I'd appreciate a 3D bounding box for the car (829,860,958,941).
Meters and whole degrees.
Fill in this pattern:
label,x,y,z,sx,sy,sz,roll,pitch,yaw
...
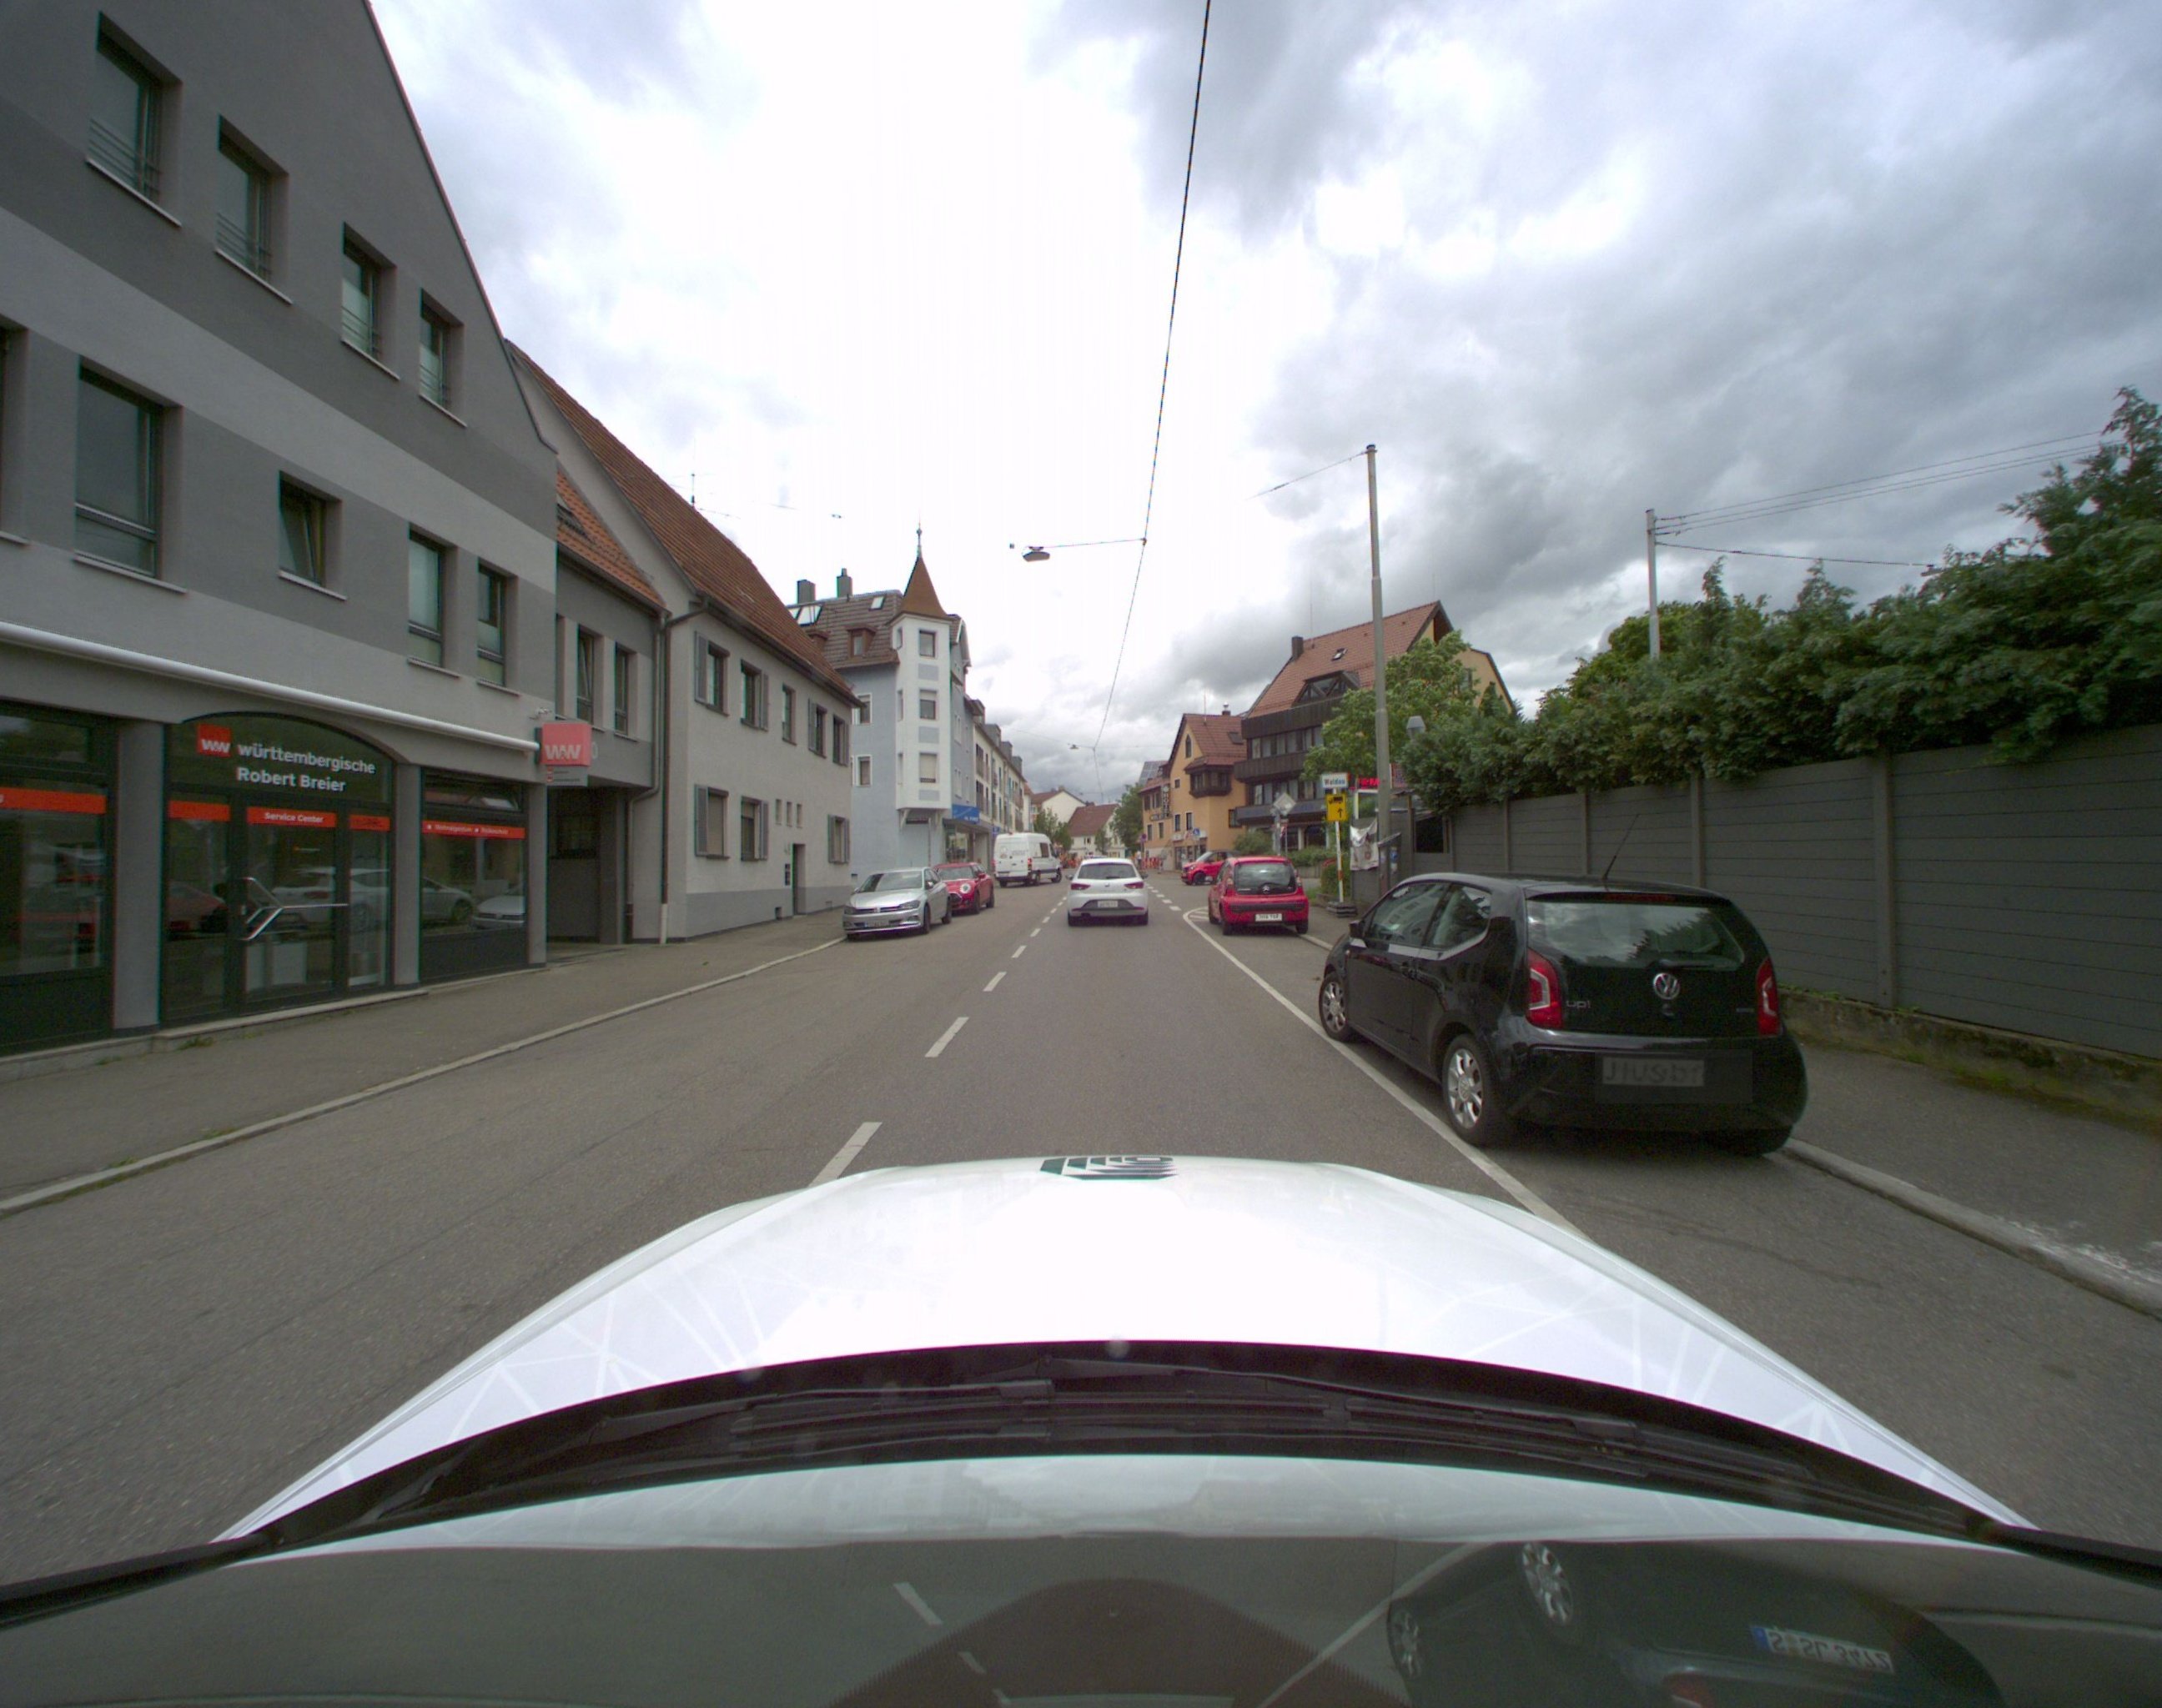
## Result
label,x,y,z,sx,sy,sz,roll,pitch,yaw
car,-4.090,0.956,18.487,1.792,1.479,4.052,-4,0,1

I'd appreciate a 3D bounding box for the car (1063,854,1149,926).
label,x,y,z,sx,sy,sz,roll,pitch,yaw
car,0.591,0.754,18.785,1.751,1.452,4.002,-1,0,2

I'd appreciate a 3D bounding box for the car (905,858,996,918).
label,x,y,z,sx,sy,sz,roll,pitch,yaw
car,-3.714,0.909,23.881,1.792,1.479,4.052,-4,0,1

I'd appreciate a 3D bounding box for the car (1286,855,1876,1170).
label,x,y,z,sx,sy,sz,roll,pitch,yaw
car,2.904,0.762,5.896,1.753,1.452,3.998,-1,0,-1

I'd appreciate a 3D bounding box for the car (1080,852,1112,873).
label,x,y,z,sx,sy,sz,roll,pitch,yaw
car,1.088,0.632,60.183,1.757,1.452,3.988,-1,0,-8

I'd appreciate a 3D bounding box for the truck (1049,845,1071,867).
label,x,y,z,sx,sy,sz,roll,pitch,yaw
truck,-2.434,0.203,95.557,2.144,2.459,5.398,0,0,2

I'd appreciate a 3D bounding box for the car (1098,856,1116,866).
label,x,y,z,sx,sy,sz,roll,pitch,yaw
car,4.036,1.006,124.864,1.744,1.452,4.018,-1,0,17

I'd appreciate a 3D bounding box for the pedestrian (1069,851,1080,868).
label,x,y,z,sx,sy,sz,roll,pitch,yaw
pedestrian,-0.773,0.648,99.985,1.223,2.013,1.176,-1,0,2

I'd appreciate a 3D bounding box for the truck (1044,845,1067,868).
label,x,y,z,sx,sy,sz,roll,pitch,yaw
truck,-2.784,0.271,89.649,2.144,2.459,5.398,0,0,2

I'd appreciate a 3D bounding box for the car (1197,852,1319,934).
label,x,y,z,sx,sy,sz,roll,pitch,yaw
car,3.500,0.724,16.816,1.752,1.452,4.001,-1,0,2

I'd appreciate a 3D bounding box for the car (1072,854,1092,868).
label,x,y,z,sx,sy,sz,roll,pitch,yaw
car,0.102,0.923,105.862,1.782,1.701,4.014,-1,0,12

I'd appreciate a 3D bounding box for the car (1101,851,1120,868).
label,x,y,z,sx,sy,sz,roll,pitch,yaw
car,2.781,0.493,76.988,1.755,1.497,3.791,-1,0,2

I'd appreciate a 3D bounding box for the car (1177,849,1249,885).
label,x,y,z,sx,sy,sz,roll,pitch,yaw
car,5.856,0.550,36.404,2.808,1.512,1.703,0,1,-10

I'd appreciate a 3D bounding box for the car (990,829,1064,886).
label,x,y,z,sx,sy,sz,roll,pitch,yaw
car,-2.639,0.154,41.606,2.137,2.687,5.566,0,0,14

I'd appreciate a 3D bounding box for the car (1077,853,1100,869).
label,x,y,z,sx,sy,sz,roll,pitch,yaw
car,0.708,0.645,75.446,1.755,1.452,3.993,-1,0,-5
